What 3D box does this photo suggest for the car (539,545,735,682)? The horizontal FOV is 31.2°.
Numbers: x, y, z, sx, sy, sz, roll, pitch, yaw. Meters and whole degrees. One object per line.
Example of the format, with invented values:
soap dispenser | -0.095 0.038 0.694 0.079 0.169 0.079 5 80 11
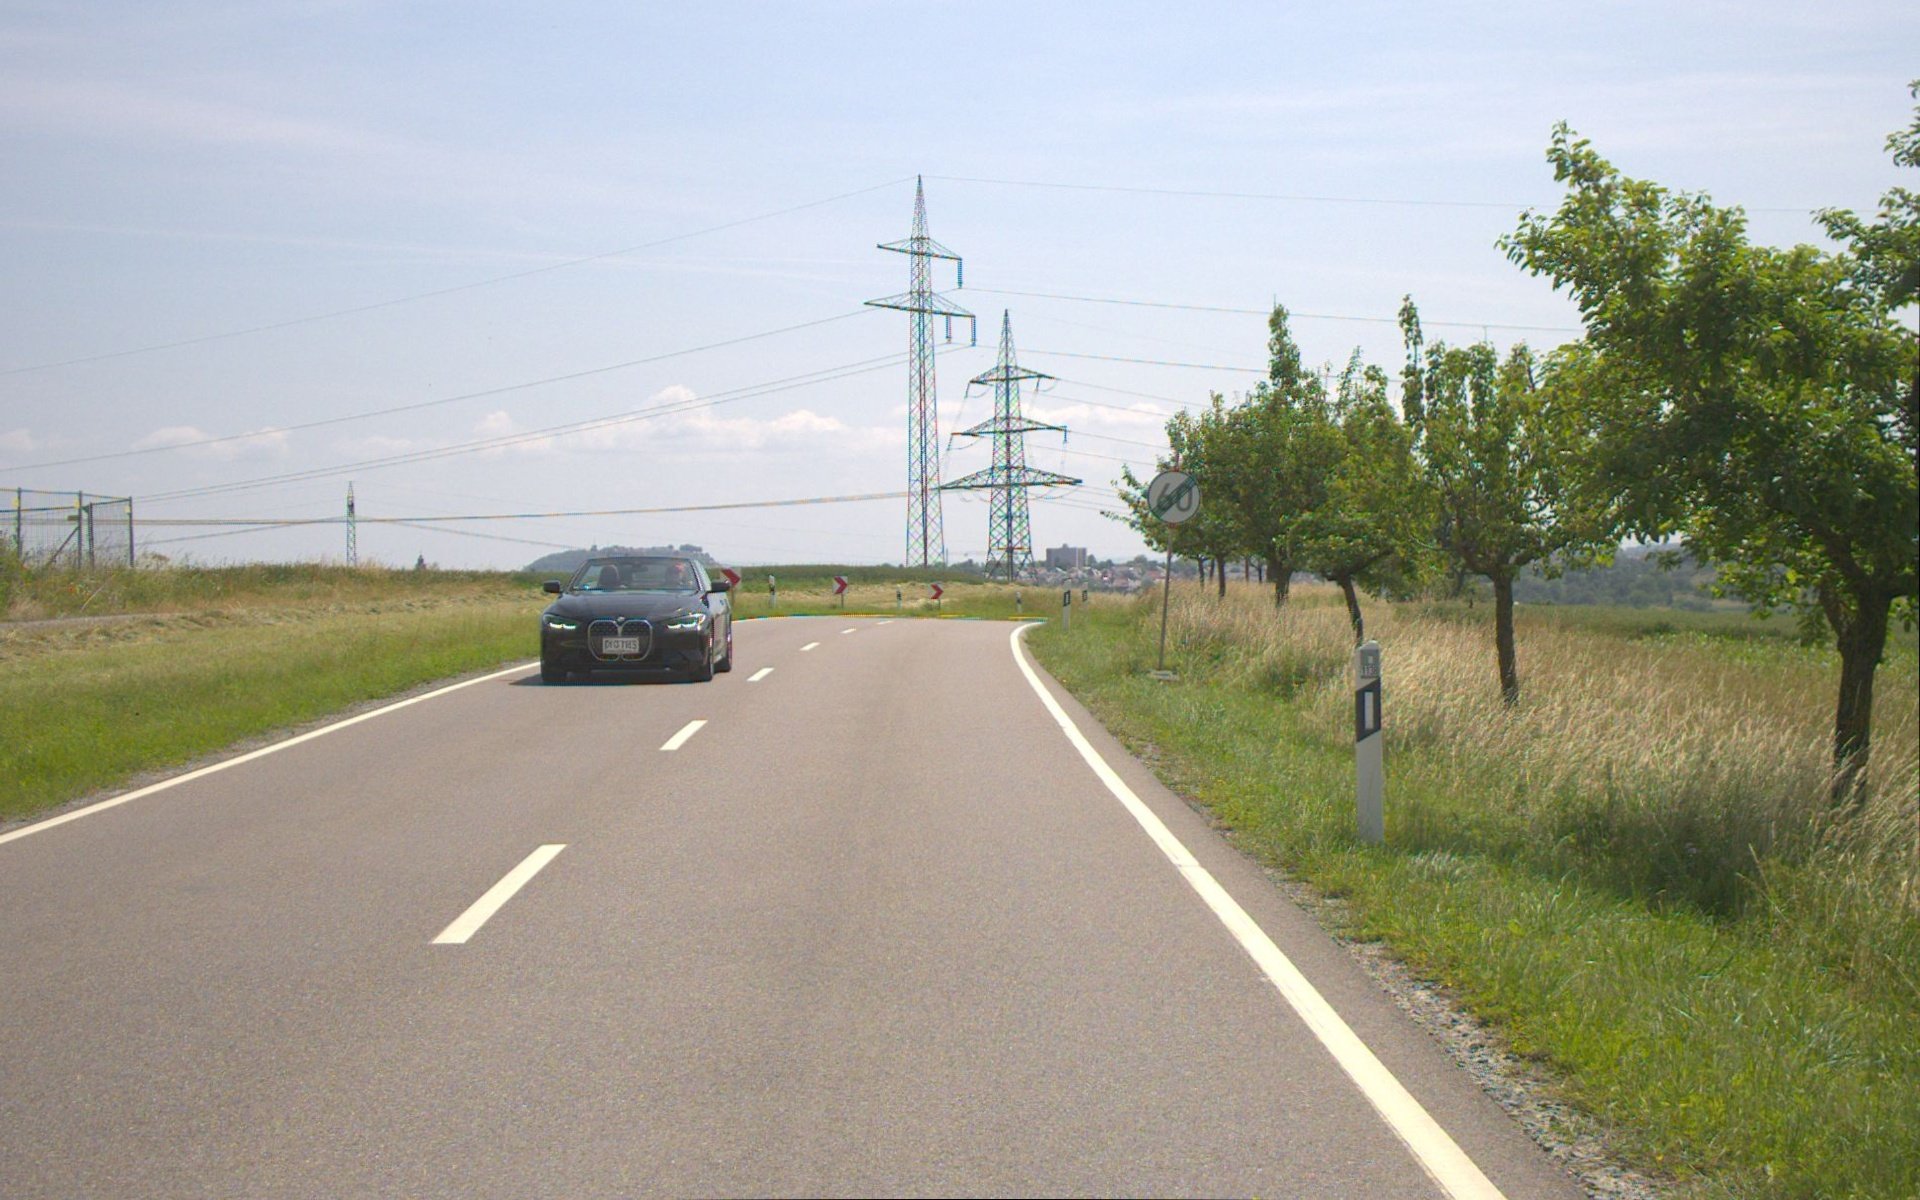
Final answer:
car | -3.500 0.107 37.838 1.822 1.406 4.000 0 1 -1
